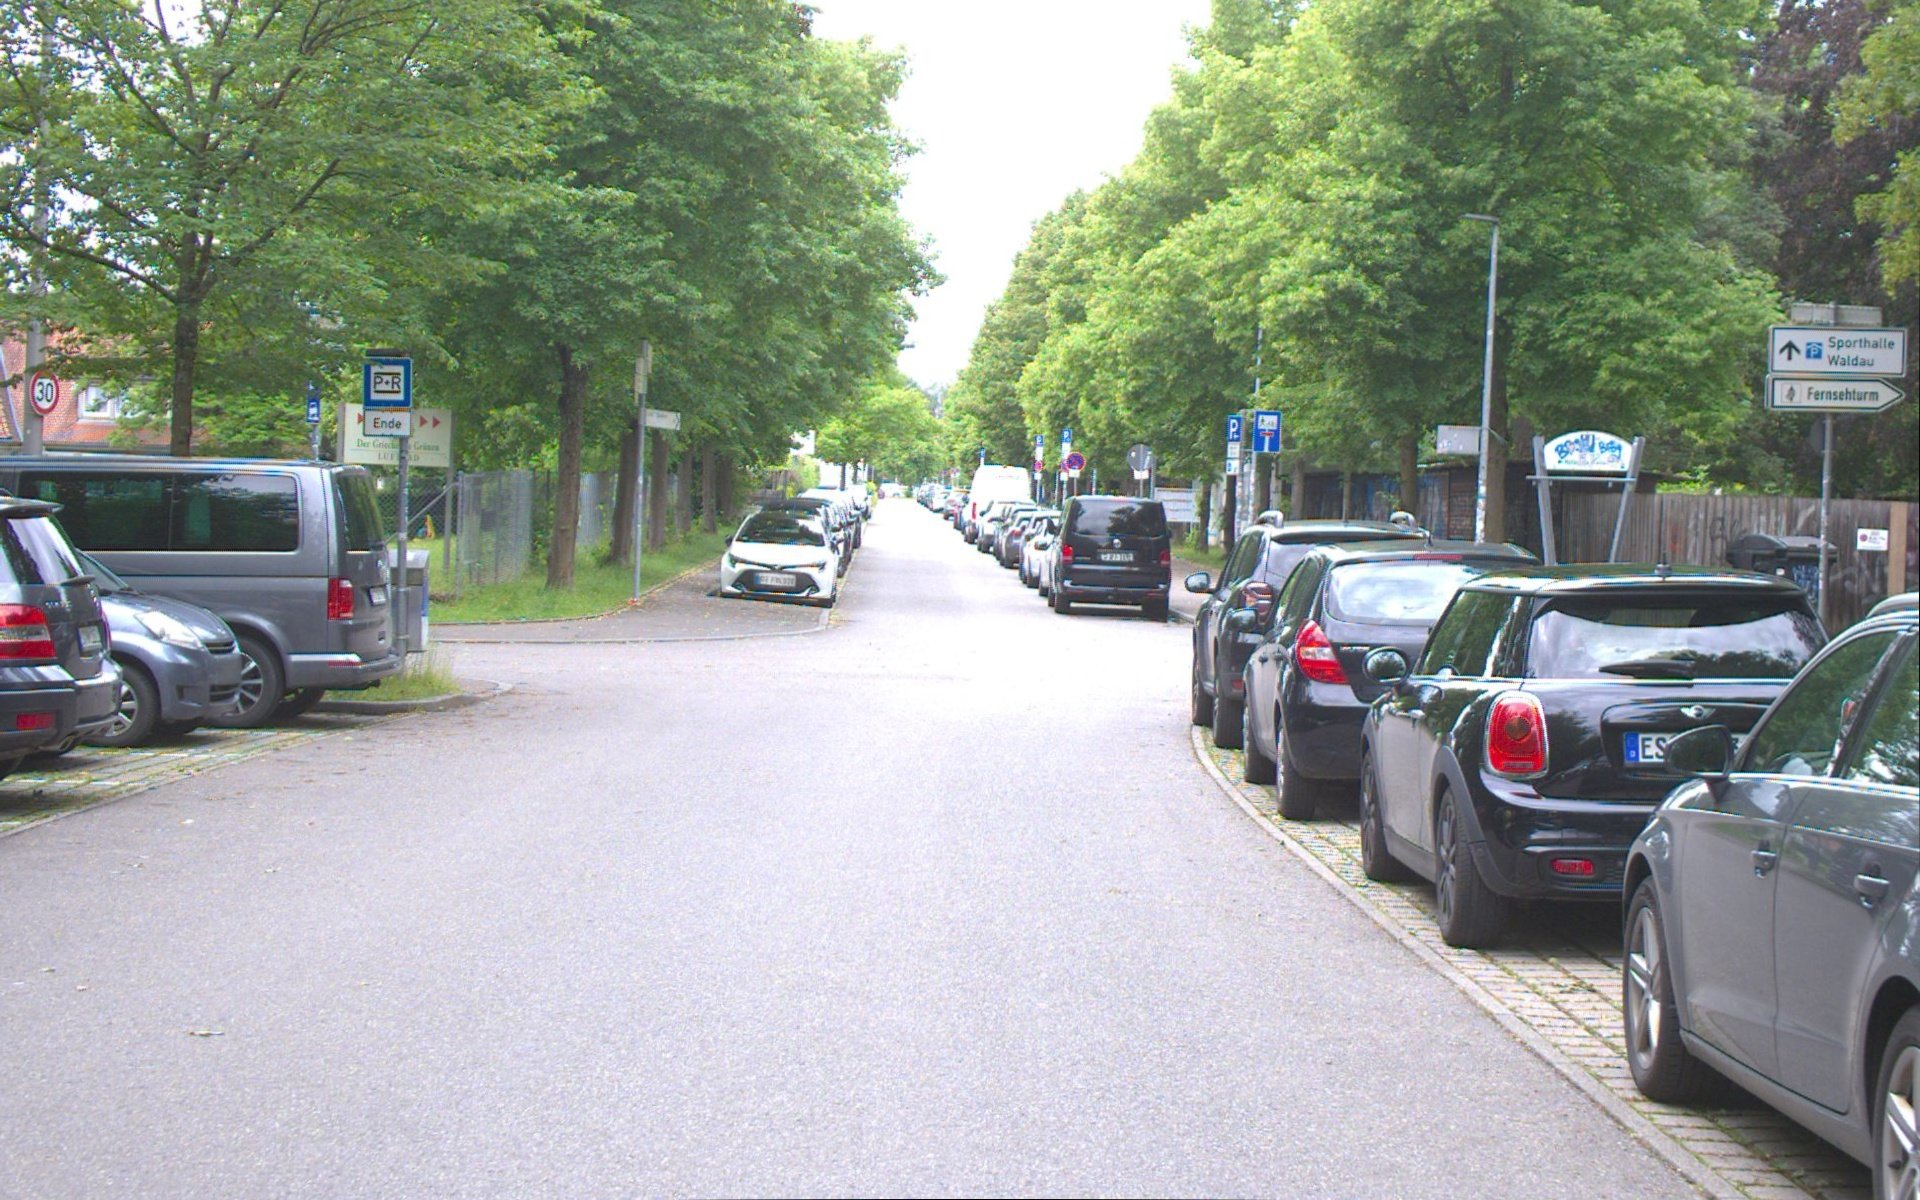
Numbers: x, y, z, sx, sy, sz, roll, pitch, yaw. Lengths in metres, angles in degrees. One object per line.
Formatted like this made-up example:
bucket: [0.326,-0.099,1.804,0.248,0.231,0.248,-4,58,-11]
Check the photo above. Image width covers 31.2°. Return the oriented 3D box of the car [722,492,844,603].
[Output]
car: [-2.827,-0.862,54.683,1.765,1.590,4.217,4,1,-3]

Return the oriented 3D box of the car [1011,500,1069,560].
car: [2.112,-1.866,91.337,1.469,1.526,3.189,1,1,0]

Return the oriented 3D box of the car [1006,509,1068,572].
car: [1.898,-1.496,85.565,1.469,1.526,3.189,1,1,0]

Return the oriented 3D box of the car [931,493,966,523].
car: [-0.684,-5.597,208.618,1.898,1.700,4.063,1,0,3]

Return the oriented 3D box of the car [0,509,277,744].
car: [-6.741,0.137,23.324,3.815,1.507,1.809,1,2,2]

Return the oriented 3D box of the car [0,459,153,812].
car: [-6.457,0.097,18.079,3.986,1.759,1.824,2,1,-2]

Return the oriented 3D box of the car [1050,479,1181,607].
car: [2.549,-0.969,57.217,1.988,2.007,4.108,1,1,0]

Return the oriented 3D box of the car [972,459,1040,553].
car: [1.526,-3.145,114.992,2.184,3.005,4.897,1,1,0]

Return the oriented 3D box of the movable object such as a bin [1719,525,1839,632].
movable object such as a bin: [11.368,-0.296,47.729,1.282,1.437,1.078,1,0,-44]

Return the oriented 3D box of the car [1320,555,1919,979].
car: [2.633,0.561,14.375,1.736,1.427,4.502,1,1,0]

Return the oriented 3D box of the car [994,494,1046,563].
car: [1.765,-2.122,101.599,1.469,1.961,3.189,1,1,0]

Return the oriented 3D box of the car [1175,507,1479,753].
car: [2.627,0.164,25.488,1.736,1.628,4.375,1,1,0]

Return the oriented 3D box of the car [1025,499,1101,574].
car: [2.116,-1.327,71.174,1.469,1.476,3.189,1,1,0]

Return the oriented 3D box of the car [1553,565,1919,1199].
car: [2.684,0.673,8.154,1.736,1.427,4.502,1,1,0]

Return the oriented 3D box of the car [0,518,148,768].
car: [-7.141,0.179,20.842,3.987,1.425,1.721,2,1,0]

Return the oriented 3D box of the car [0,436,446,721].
car: [-6.212,-0.180,25.522,4.502,1.971,1.891,1,0,-2]

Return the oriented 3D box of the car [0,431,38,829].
car: [-6.447,0.085,15.641,3.987,1.856,1.813,2,1,-1]

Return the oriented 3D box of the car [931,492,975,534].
car: [-0.345,-4.412,175.135,1.994,2.007,4.000,1,0,3]

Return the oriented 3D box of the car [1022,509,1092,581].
car: [2.145,-1.240,76.571,1.469,1.526,3.189,1,1,0]

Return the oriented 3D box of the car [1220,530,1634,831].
car: [2.532,0.370,19.586,1.736,1.489,4.234,1,1,0]
